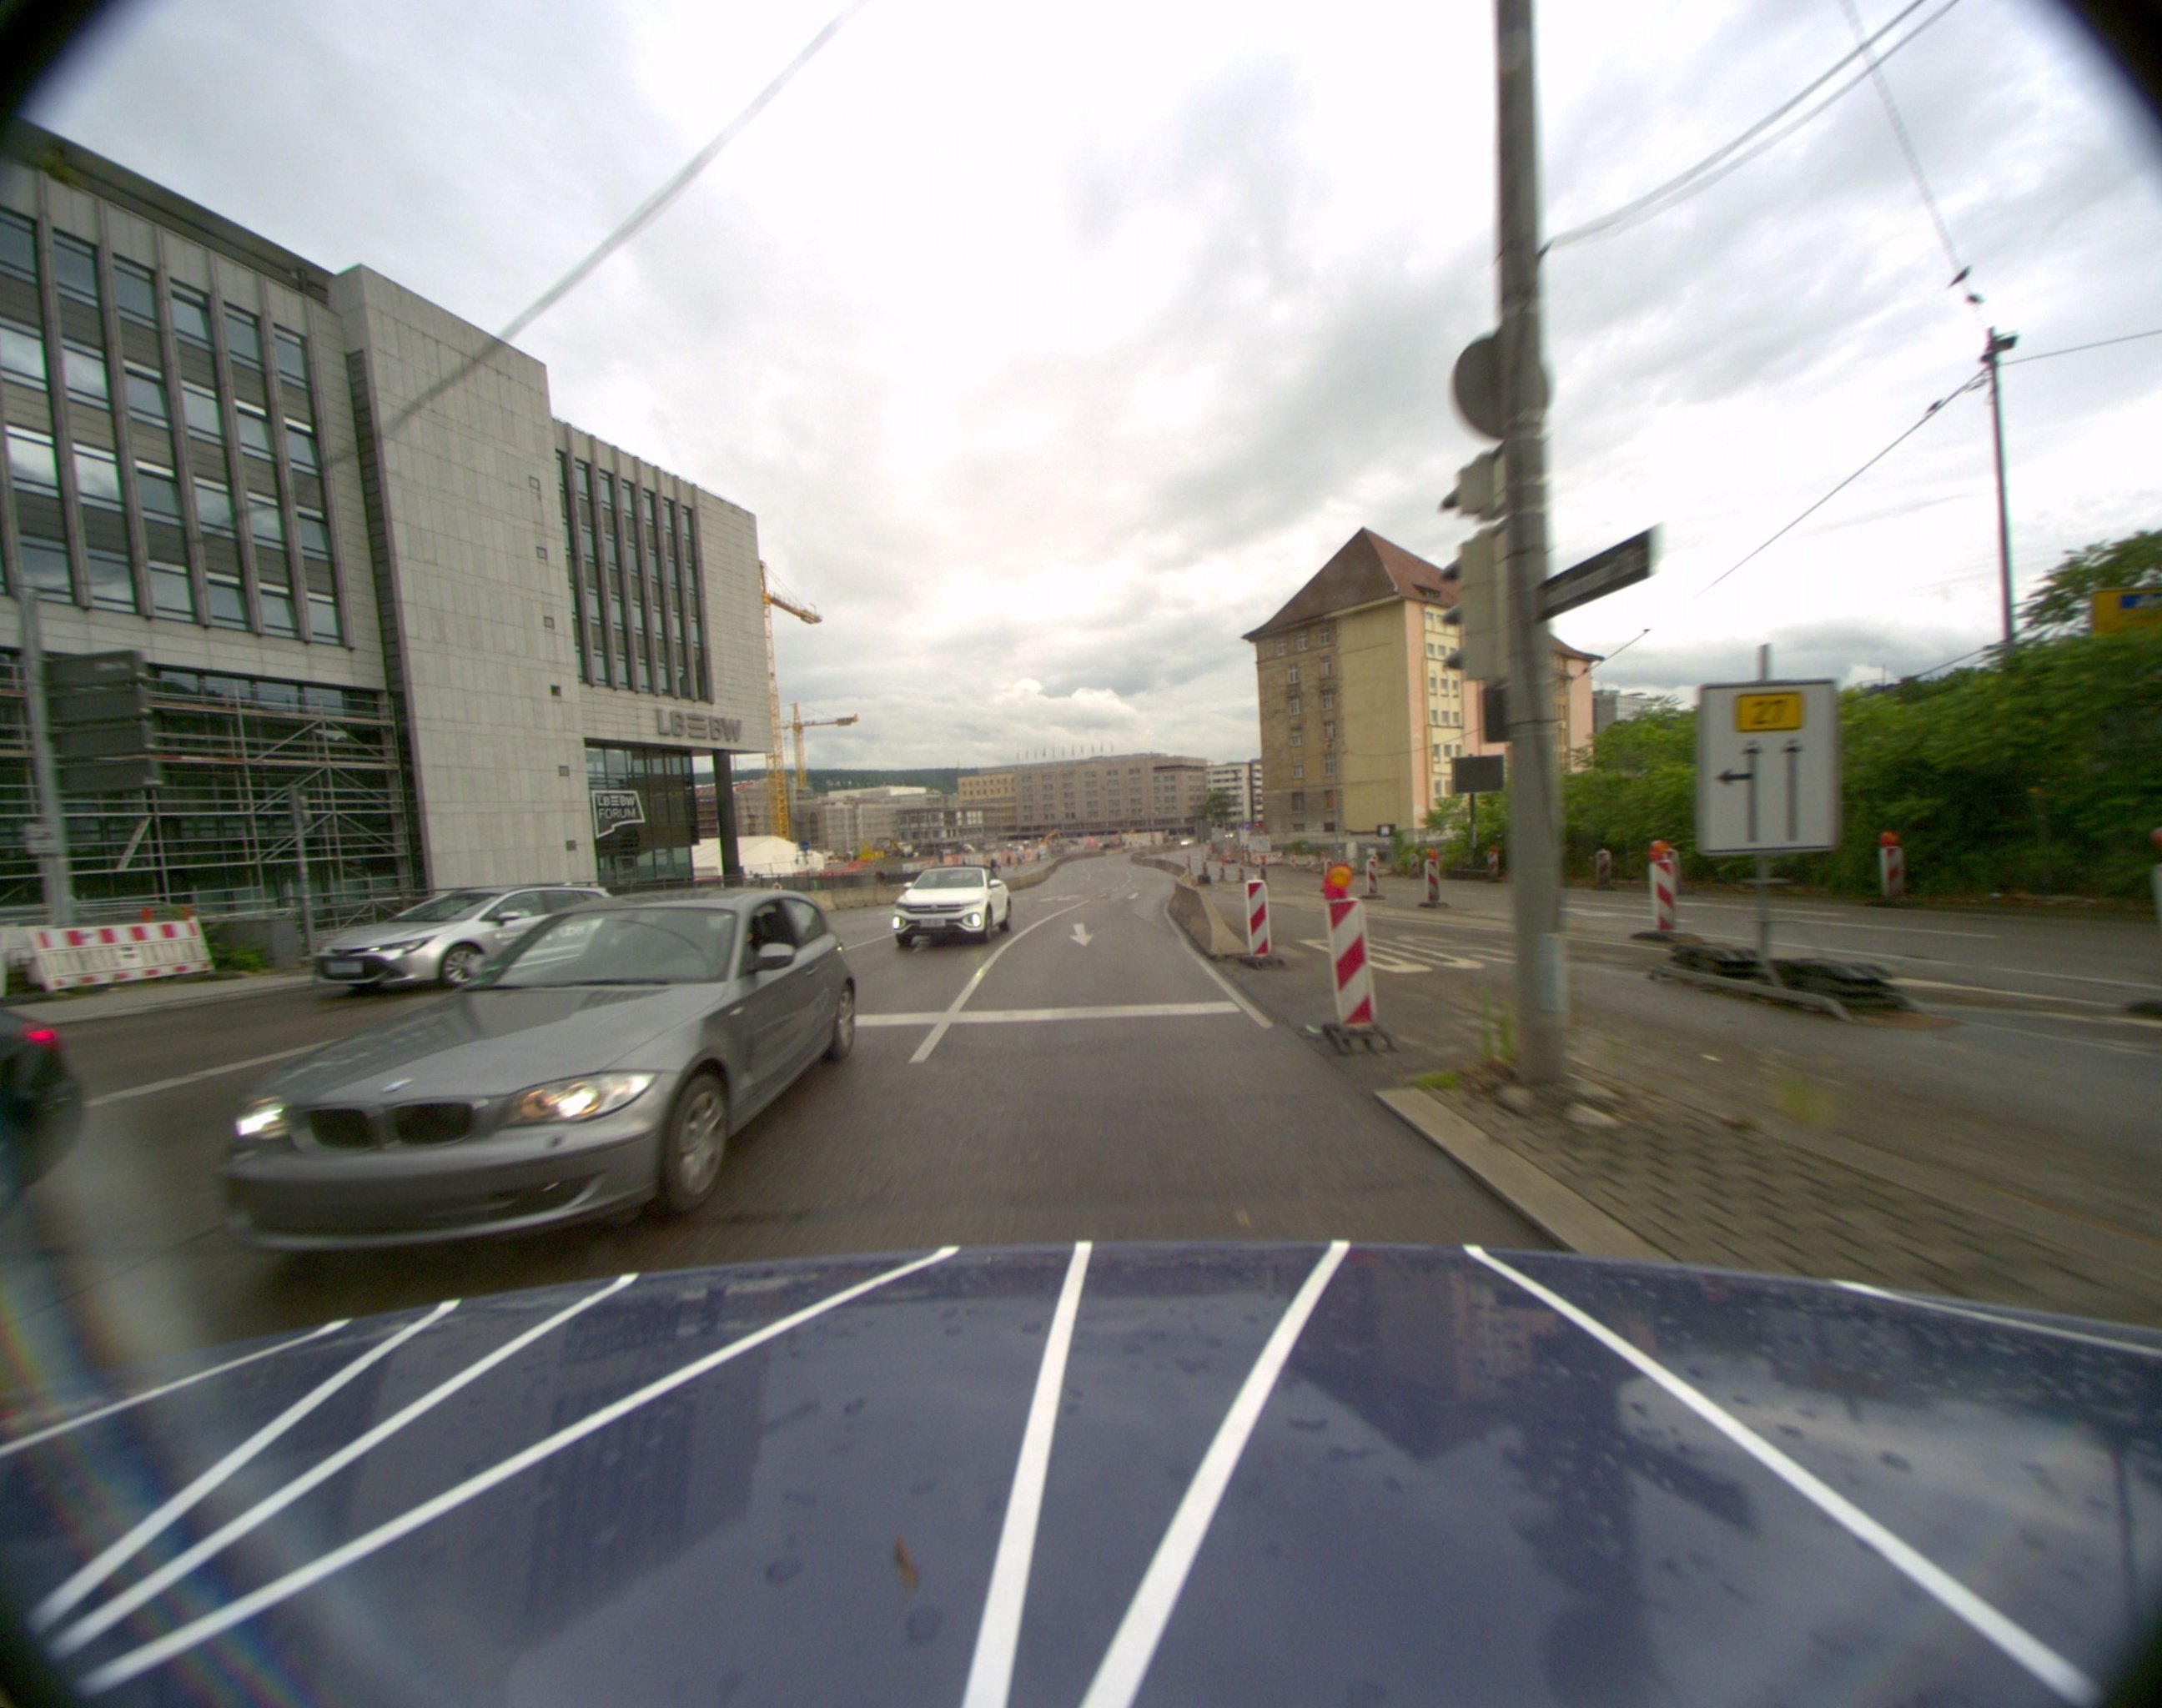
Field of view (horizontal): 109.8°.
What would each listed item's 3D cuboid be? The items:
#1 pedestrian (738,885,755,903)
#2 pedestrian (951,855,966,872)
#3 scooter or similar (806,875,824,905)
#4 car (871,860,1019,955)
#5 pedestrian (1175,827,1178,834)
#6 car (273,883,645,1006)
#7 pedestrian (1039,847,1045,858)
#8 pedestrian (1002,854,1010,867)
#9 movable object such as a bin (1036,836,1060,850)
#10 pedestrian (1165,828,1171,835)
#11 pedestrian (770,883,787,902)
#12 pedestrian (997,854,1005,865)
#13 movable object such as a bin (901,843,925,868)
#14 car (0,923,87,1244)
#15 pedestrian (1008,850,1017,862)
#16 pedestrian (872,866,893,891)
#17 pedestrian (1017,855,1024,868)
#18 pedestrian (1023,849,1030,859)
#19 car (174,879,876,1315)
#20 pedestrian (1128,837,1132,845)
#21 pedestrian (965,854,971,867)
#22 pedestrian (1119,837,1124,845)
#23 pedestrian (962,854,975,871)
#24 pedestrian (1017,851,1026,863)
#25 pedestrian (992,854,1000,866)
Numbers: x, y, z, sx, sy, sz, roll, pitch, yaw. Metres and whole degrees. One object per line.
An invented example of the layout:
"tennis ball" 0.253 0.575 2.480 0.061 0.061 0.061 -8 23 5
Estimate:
"pedestrian" -31.070 3.731 70.655 0.866 1.545 1.009 -1 4 29
"pedestrian" -11.679 0.887 72.420 0.861 1.585 0.953 -2 4 27
"scooter or similar" -10.724 1.452 30.645 0.349 1.156 0.573 -3 2 15
"car" -2.639 0.999 15.877 1.968 1.540 4.219 -3 1 4
"pedestrian" 24.301 -5.889 193.424 0.756 1.752 0.766 -1 4 11
"car" -9.544 1.287 12.297 1.704 1.442 4.620 -3 -1 9
"pedestrian" -6.390 -0.276 124.525 0.746 1.697 0.687 -1 4 14
"pedestrian" -10.212 0.881 103.628 0.778 1.713 0.892 -2 3 19
"movable object such as a bin" -6.555 -2.140 149.992 4.134 2.522 1.994 -5 4 -35
"pedestrian" 21.961 -5.655 192.319 1.097 1.752 0.907 0 4 27
"pedestrian" -27.991 3.546 70.301 0.866 1.628 1.009 -1 4 29
"pedestrian" -10.894 0.736 103.619 0.609 1.514 0.886 -2 3 19
"movable object such as a bin" -25.021 0.204 113.500 1.941 3.391 4.230 -3 3 7
"car" -5.621 1.103 1.509 1.759 1.399 4.225 -1 2 -3
"pedestrian" -10.106 0.285 112.253 0.867 1.808 1.009 -2 3 19
"pedestrian" -13.468 1.650 51.639 0.730 1.643 1.062 -2 2 27
"pedestrian" -8.064 1.046 101.360 0.648 1.624 0.907 -3 3 0
"pedestrian" -8.470 -0.035 118.870 0.647 1.545 0.767 -1 4 36
"car" -2.707 1.016 5.003 1.744 1.435 3.998 -3 1 -3
"pedestrian" 10.609 -2.919 164.784 0.585 1.699 0.677 -1 4 11
"pedestrian" -15.528 0.866 104.491 0.567 1.739 0.495 -2 4 18
"pedestrian" 8.318 -2.692 156.999 0.654 1.682 0.776 0 4 24
"pedestrian" -10.742 0.831 72.492 0.732 1.566 0.806 -2 3 27
"pedestrian" -9.203 0.476 116.877 0.818 1.839 0.933 -1 4 36
"pedestrian" -11.592 0.765 103.676 0.715 1.545 1.009 -2 3 19
